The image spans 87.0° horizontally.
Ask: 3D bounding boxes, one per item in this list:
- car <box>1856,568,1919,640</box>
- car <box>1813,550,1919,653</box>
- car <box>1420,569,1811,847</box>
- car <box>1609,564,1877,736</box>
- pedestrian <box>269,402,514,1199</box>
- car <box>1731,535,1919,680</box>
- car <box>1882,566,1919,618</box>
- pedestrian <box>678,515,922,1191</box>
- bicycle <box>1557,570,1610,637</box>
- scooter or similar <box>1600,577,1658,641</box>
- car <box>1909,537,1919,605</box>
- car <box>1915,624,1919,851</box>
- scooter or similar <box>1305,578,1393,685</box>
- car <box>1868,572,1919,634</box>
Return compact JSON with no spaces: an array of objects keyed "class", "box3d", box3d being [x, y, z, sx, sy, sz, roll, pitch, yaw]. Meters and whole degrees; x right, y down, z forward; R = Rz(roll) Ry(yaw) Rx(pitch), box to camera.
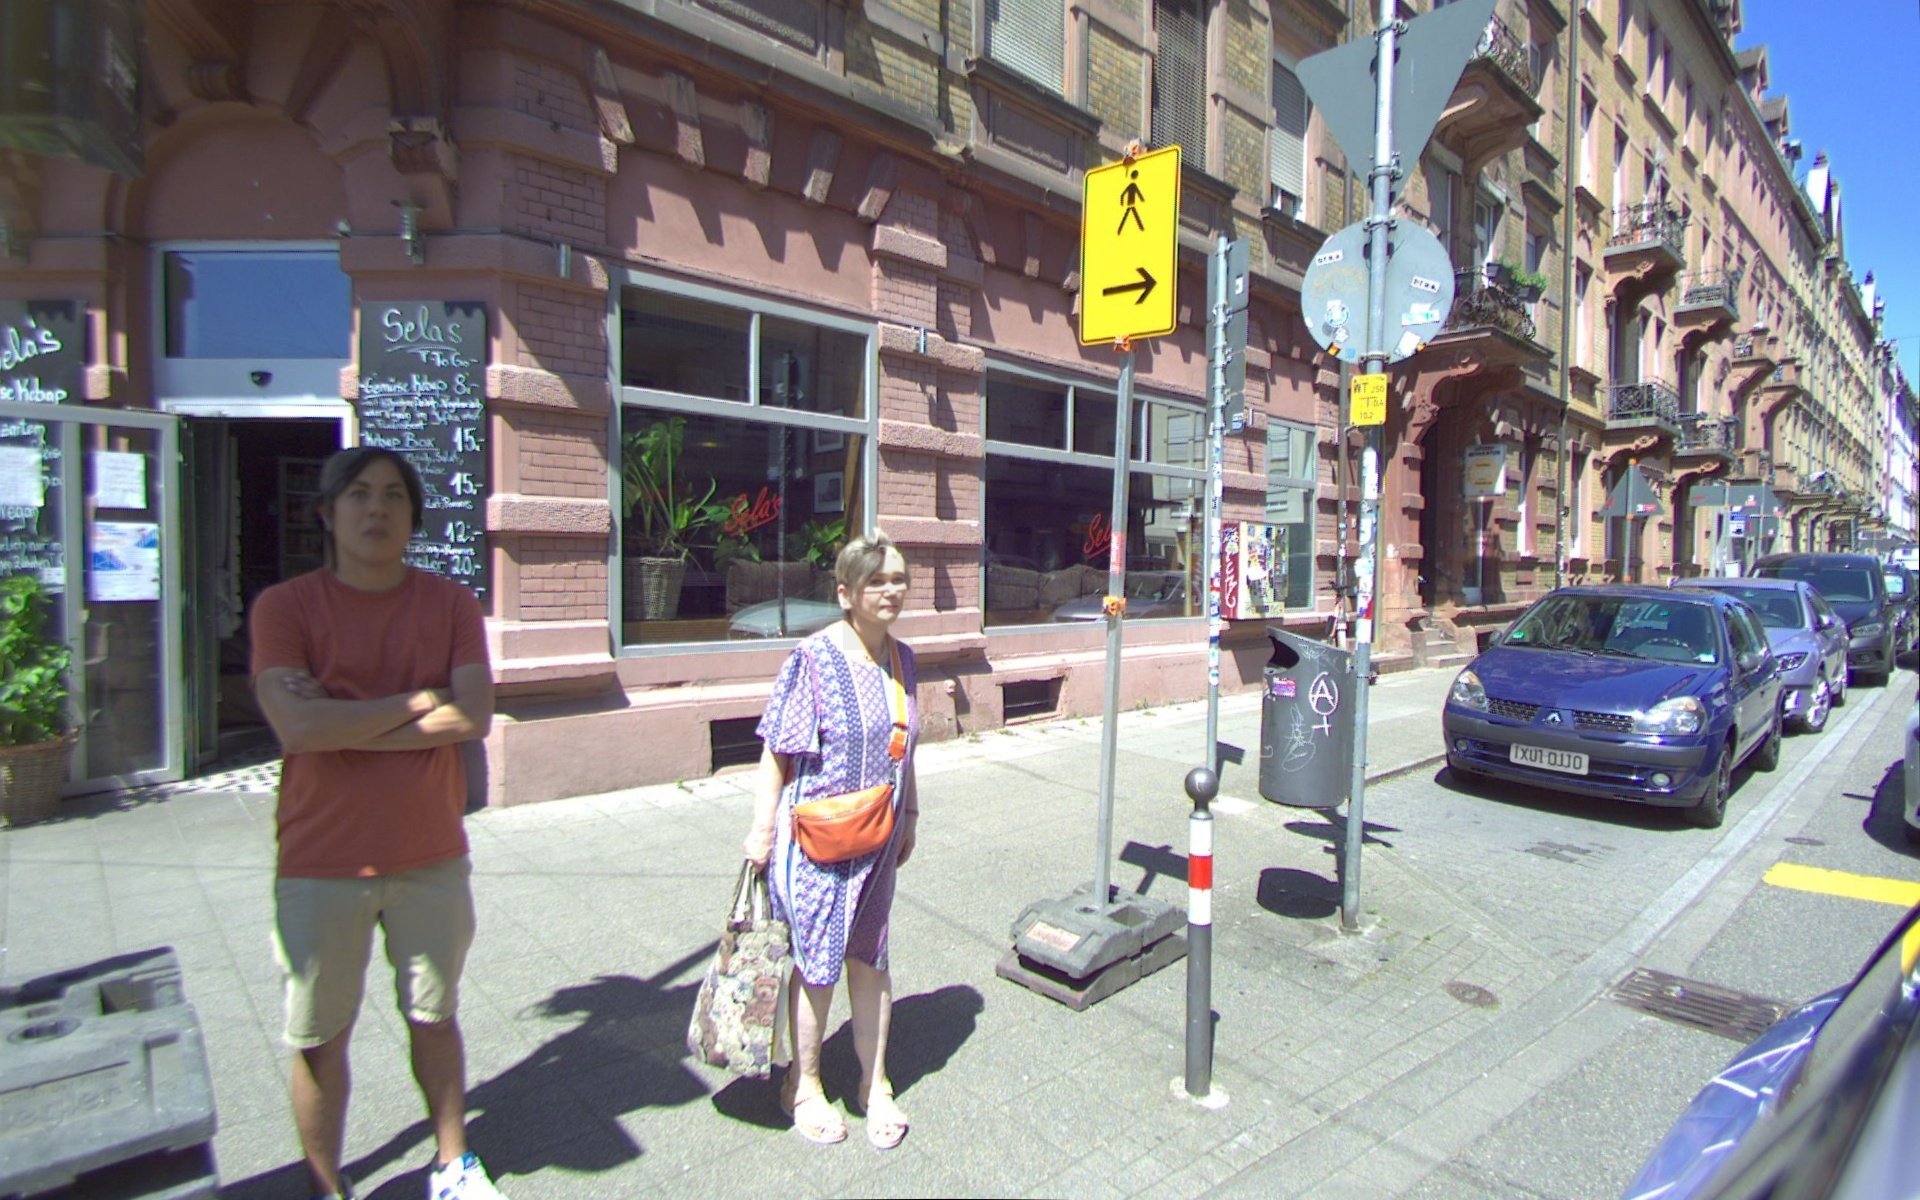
[{"class":"car","box3d":[21.129,0.040,22.495,1.759,1.467,3.848,0,2,41]},{"class":"car","box3d":[17.361,-0.027,18.960,3.934,1.755,1.703,-2,2,-43]},{"class":"car","box3d":[4.853,0.525,7.291,1.628,1.449,3.602,3,4,45]},{"class":"car","box3d":[8.589,0.358,10.937,1.727,1.449,4.414,3,4,45]},{"class":"pedestrian","box3d":[-1.192,0.477,2.124,0.394,1.696,0.333,-1,2,-37]},{"class":"car","box3d":[12.671,-0.003,14.643,1.826,1.788,4.268,3,4,45]},{"class":"car","box3d":[28.519,-0.271,30.067,1.598,1.480,3.632,0,2,44]},{"class":"pedestrian","box3d":[-0.429,0.569,2.633,0.428,1.561,0.494,-1,4,-37]},{"class":"bicycle","box3d":[11.008,0.037,17.846,1.726,1.117,0.354,-1,2,-44]},{"class":"scooter or similar","box3d":[12.918,0.147,19.512,2.114,1.167,0.477,-1,2,-44]},{"class":"car","box3d":[40.530,-1.217,41.479,4.955,2.736,2.064,-2,1,-43]},{"class":"car","box3d":[7.118,0.572,6.048,4.171,1.443,1.811,-1,2,-43]},{"class":"scooter or similar","box3d":[4.539,0.345,11.783,1.247,1.191,0.293,-1,1,-34]},{"class":"car","box3d":[24.400,0.035,25.727,1.825,1.479,3.937,1,2,44]}]
